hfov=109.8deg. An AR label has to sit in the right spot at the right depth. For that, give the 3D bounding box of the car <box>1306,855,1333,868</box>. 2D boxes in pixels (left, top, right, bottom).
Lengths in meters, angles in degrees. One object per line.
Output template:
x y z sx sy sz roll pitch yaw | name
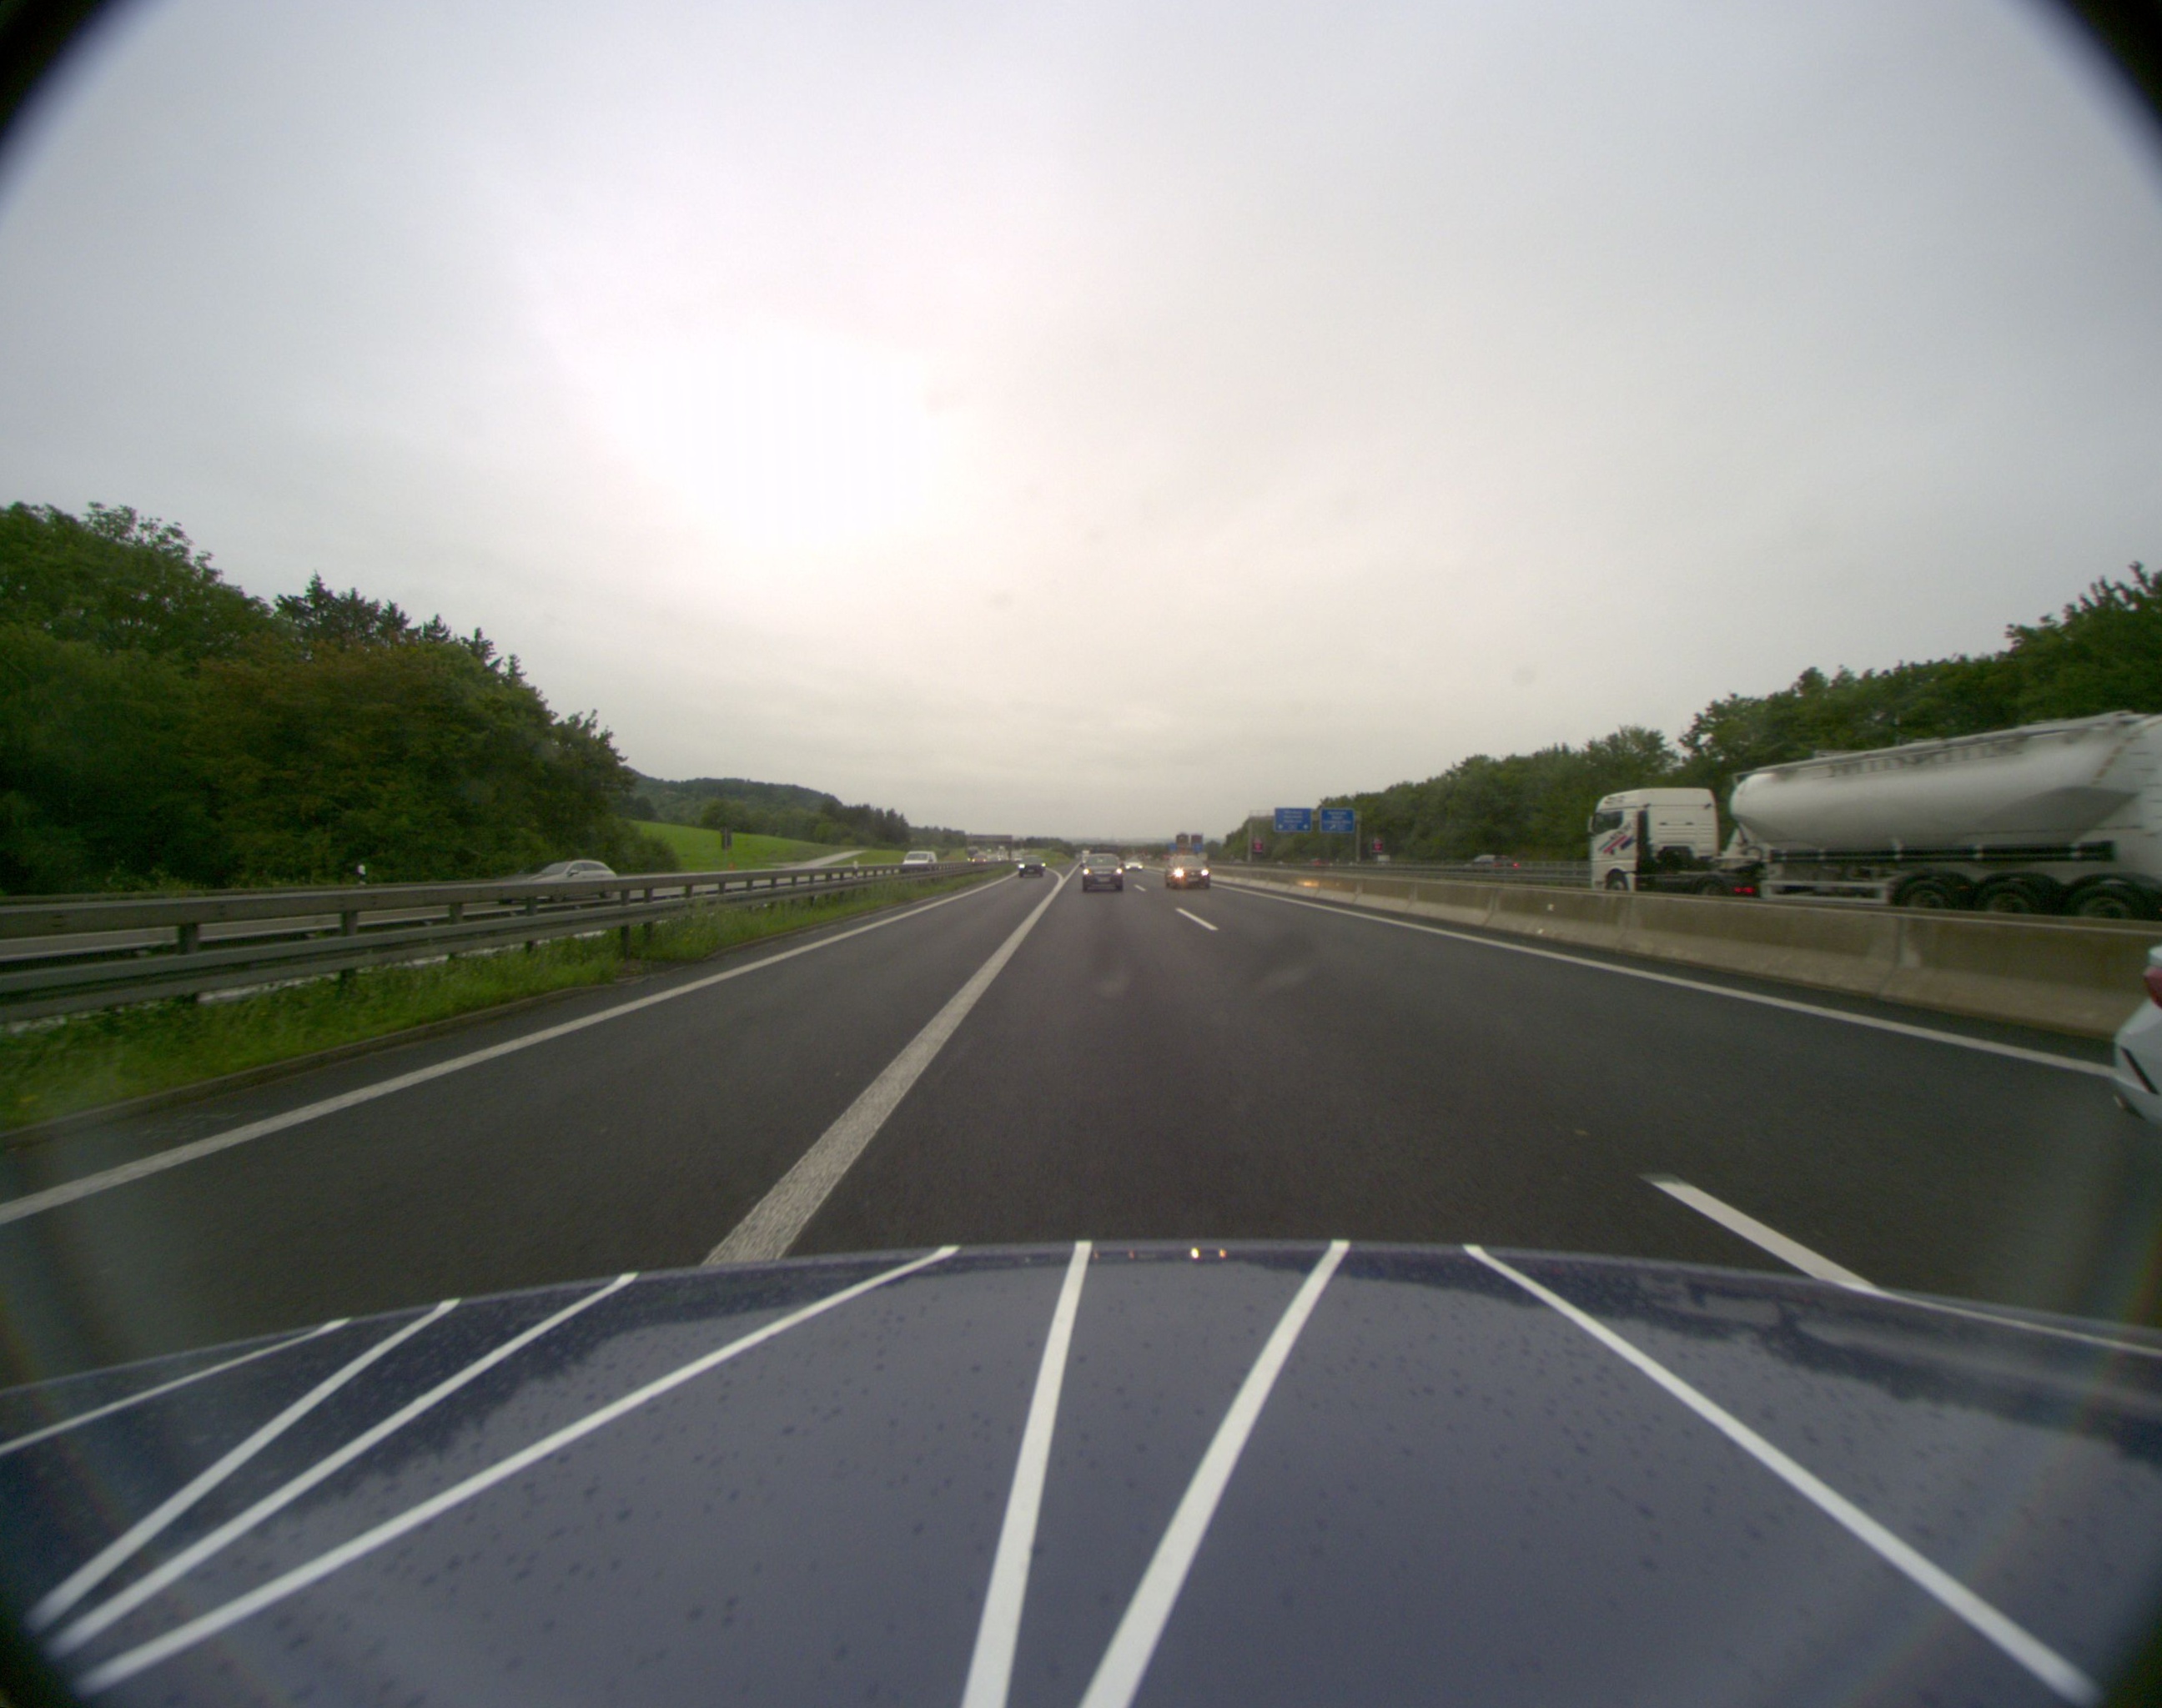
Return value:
30.078 0.926 96.086 1.823 1.448 4.567 -1 1 -2 | car

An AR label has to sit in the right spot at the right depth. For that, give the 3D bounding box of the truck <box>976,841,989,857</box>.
-23.912 -1.212 184.997 2.800 3.878 10.022 -1 1 -5 | truck

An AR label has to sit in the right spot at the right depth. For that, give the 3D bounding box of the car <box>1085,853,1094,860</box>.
1.761 0.458 159.029 1.919 1.481 4.566 -1 1 -1 | car

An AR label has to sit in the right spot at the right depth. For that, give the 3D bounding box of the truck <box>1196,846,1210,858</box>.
39.445 -0.725 246.848 3.082 3.856 9.634 -1 1 1 | truck

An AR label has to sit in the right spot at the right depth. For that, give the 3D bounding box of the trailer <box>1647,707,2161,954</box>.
17.728 -0.415 16.781 2.643 3.714 10.811 -1 1 2 | trailer

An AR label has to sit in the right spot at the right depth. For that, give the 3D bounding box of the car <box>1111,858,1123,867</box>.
6.339 1.414 133.127 1.726 1.481 4.566 -1 1 -1 | car

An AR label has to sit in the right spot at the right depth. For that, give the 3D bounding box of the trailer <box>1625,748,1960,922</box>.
17.614 -0.436 19.573 2.643 3.694 6.491 -1 1 2 | trailer

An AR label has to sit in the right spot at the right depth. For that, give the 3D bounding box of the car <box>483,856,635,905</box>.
-17.666 0.828 26.068 1.903 1.446 4.709 -1 1 1 | car

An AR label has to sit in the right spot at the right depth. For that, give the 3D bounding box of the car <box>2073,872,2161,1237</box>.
5.205 0.813 0.913 1.823 1.448 4.777 -1 1 1 | car

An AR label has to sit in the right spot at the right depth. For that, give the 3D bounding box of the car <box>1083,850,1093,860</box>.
1.584 0.197 165.602 2.016 1.994 4.566 -1 1 -1 | car

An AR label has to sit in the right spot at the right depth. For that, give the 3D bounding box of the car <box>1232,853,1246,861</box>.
29.832 0.596 143.520 1.823 1.448 4.269 -1 1 3 | car

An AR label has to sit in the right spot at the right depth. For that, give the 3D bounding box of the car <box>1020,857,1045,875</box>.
-3.913 0.951 62.063 1.867 1.349 4.566 -1 1 -2 | car

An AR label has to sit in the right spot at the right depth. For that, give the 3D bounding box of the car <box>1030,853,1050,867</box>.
-4.720 0.716 87.732 1.885 1.519 4.000 -1 1 1 | car

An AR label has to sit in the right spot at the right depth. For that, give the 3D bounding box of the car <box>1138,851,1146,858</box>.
17.902 0.018 223.219 1.998 2.002 4.982 -1 1 0 | car

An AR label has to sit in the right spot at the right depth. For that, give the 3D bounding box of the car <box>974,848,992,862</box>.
-13.882 0.111 107.977 2.130 2.002 5.075 -1 1 -2 | car

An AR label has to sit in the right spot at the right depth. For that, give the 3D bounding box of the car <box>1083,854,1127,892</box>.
1.028 0.805 34.218 1.813 1.571 3.834 -1 1 -1 | car

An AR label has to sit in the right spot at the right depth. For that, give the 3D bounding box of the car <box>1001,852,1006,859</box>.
-25.030 0.439 245.302 1.753 2.002 4.495 -1 1 -6 | car

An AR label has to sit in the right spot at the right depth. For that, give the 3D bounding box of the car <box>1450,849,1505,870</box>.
29.306 0.411 56.325 1.823 1.448 4.257 -1 1 -1 | car

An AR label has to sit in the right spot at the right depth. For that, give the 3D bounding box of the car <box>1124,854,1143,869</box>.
5.529 0.826 80.766 1.726 1.481 4.567 -1 1 1 | car

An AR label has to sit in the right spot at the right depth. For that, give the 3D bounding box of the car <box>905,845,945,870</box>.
-11.357 0.235 55.556 1.914 1.684 4.718 -1 1 -1 | car

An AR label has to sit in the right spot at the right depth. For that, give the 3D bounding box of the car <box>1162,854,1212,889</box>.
4.925 0.766 35.730 1.726 1.481 4.567 -1 1 1 | car
